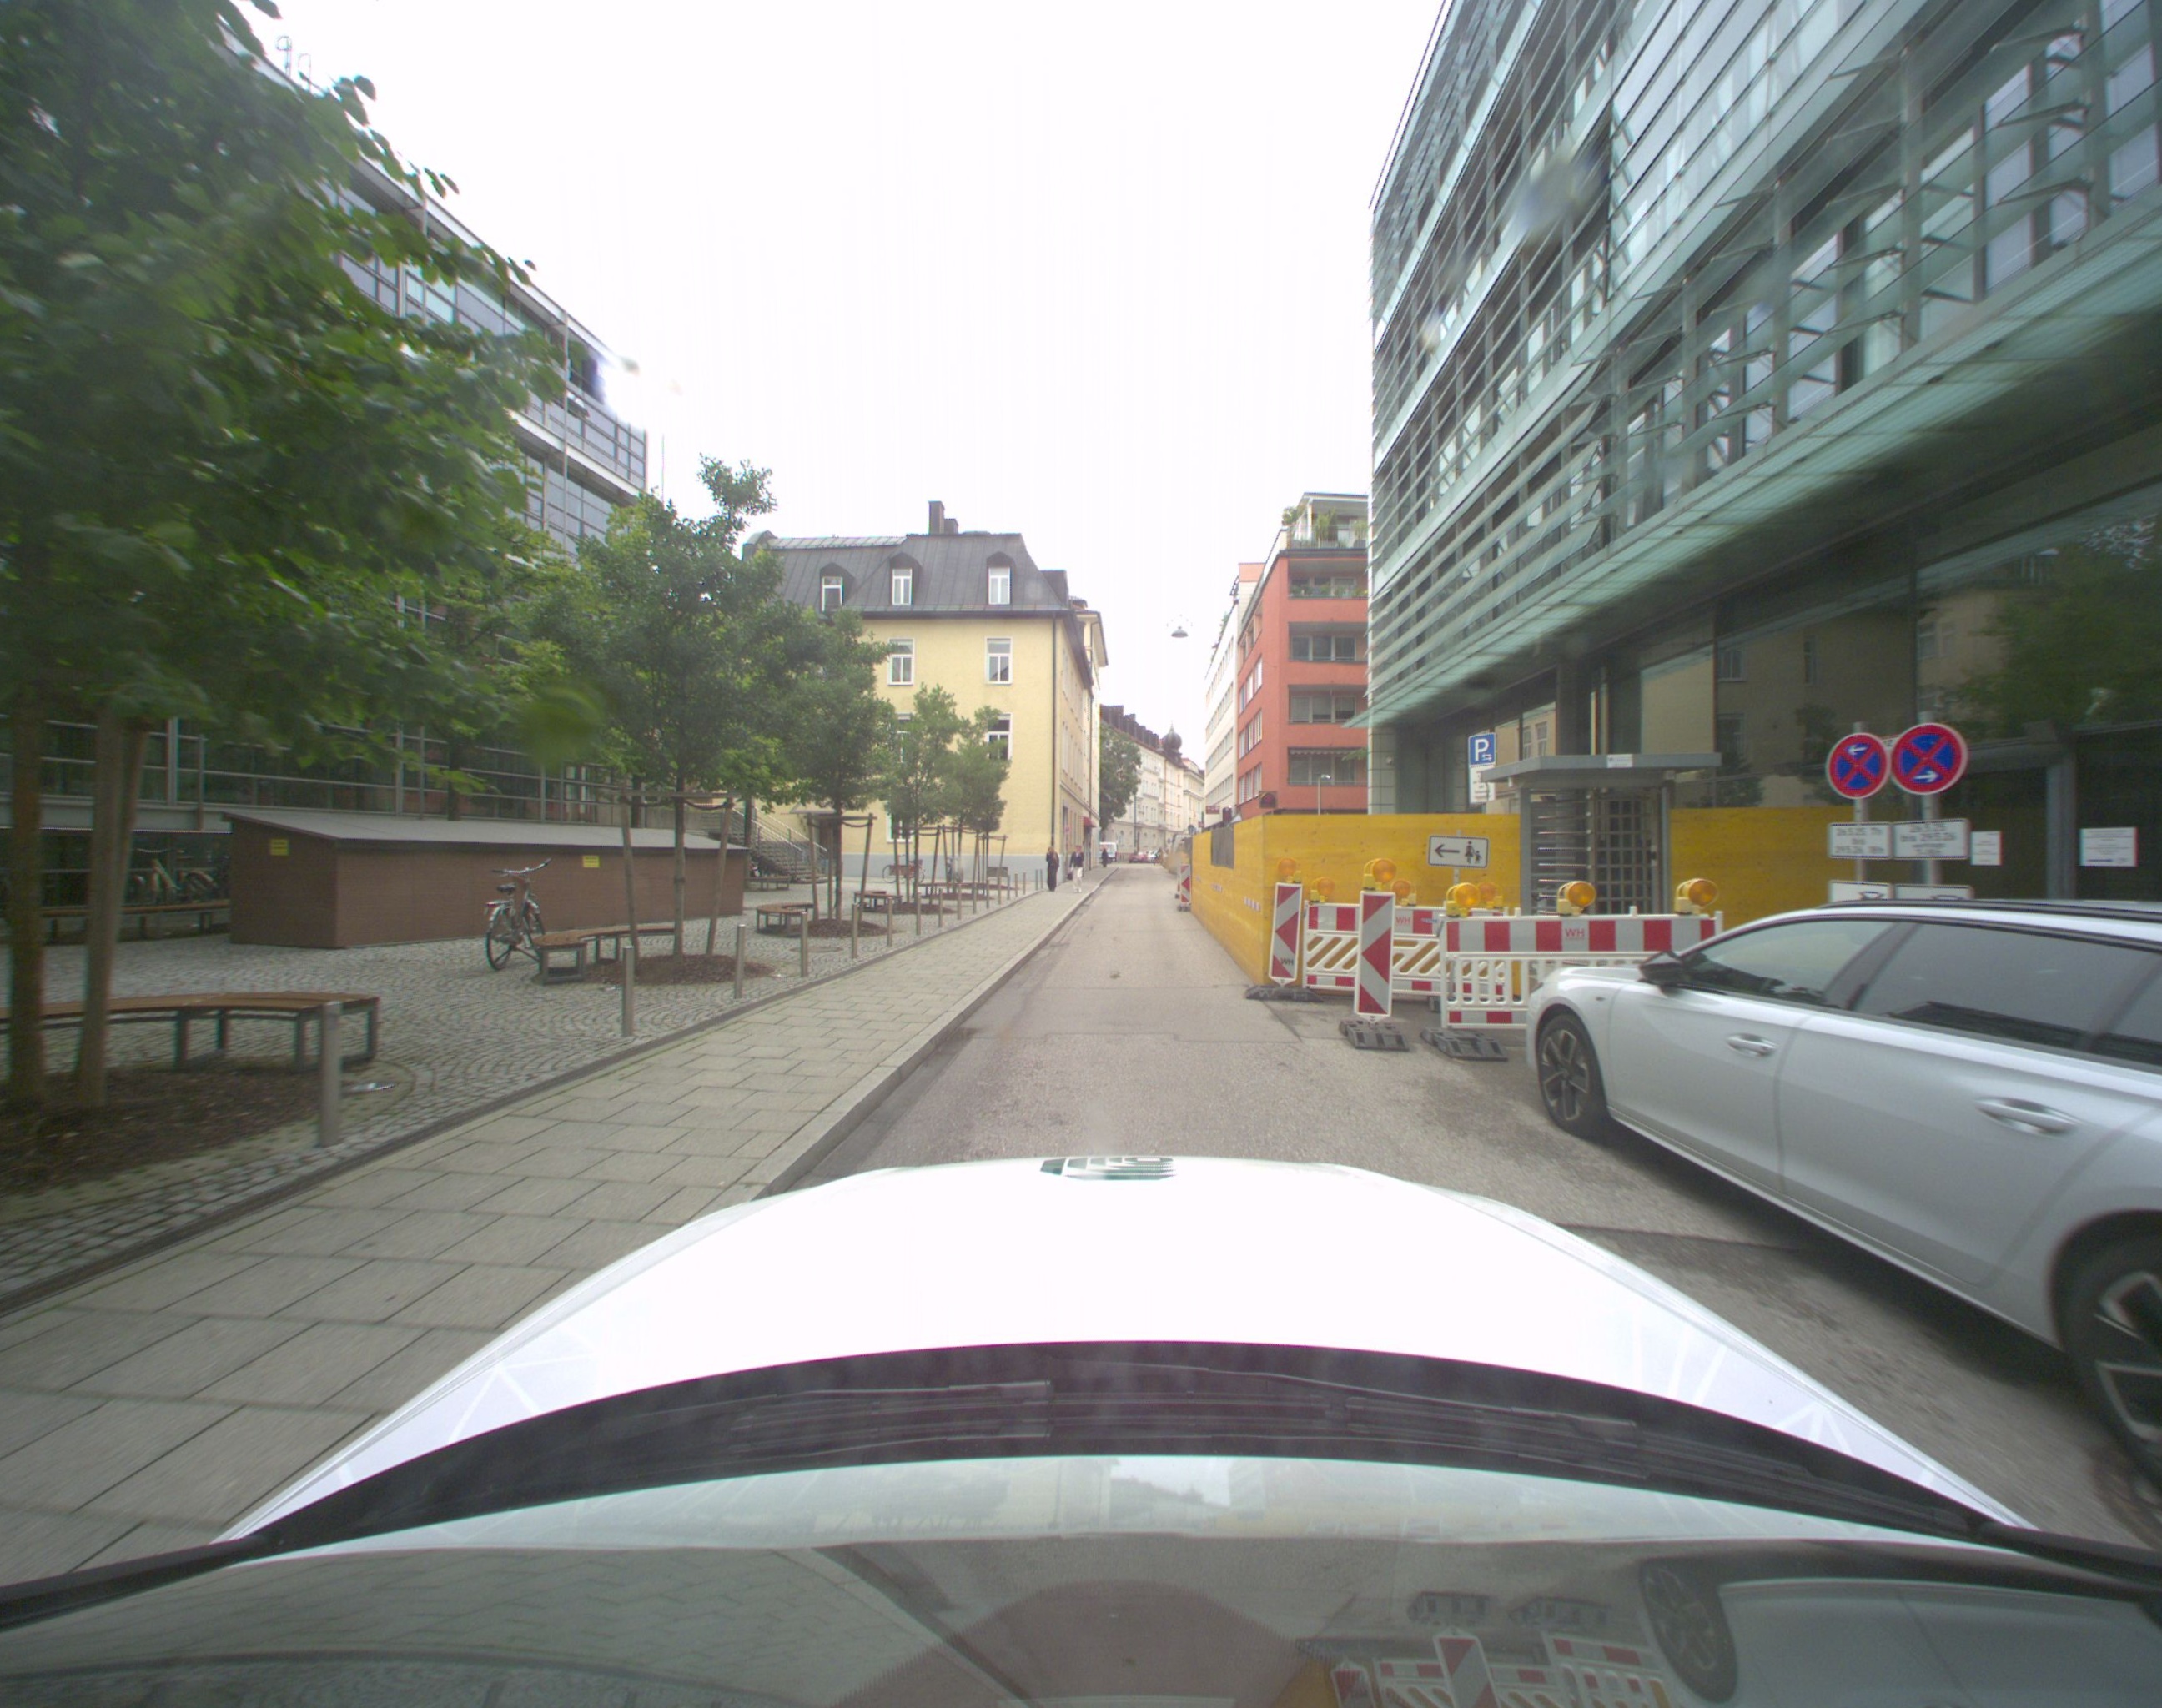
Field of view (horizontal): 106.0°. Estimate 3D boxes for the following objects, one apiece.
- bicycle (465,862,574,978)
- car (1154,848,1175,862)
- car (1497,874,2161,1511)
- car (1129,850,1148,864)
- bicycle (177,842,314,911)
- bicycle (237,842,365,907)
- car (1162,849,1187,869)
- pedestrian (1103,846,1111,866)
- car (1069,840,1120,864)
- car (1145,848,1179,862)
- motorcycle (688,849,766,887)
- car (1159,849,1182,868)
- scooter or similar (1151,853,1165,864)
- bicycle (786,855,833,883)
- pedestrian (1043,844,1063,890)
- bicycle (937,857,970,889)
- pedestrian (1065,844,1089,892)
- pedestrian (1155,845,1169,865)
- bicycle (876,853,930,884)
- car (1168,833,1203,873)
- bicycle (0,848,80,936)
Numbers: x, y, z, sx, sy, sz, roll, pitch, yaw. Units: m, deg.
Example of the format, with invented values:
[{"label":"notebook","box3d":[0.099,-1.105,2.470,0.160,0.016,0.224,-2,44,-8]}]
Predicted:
[{"label":"bicycle","box3d":[-6.586,0.715,9.640,0.552,1.197,1.826,1,0,-19]},{"label":"car","box3d":[11.290,0.141,109.634,2.005,1.904,4.308,-1,0,16]},{"label":"car","box3d":[3.463,0.856,3.060,1.700,1.414,4.514,2,0,3]},{"label":"car","box3d":[6.787,0.363,95.317,1.680,1.574,4.012,1,0,11]},{"label":"bicycle","box3d":[-14.766,0.383,14.407,1.977,1.160,0.654,1,0,9]},{"label":"bicycle","box3d":[-14.632,0.372,15.292,1.977,1.160,0.654,1,0,9]},{"label":"car","box3d":[7.873,0.380,68.820,1.780,1.625,4.276,1,0,3]},{"label":"pedestrian","box3d":[2.178,0.179,68.898,0.632,1.675,0.518,1,0,3]},{"label":"car","box3d":[1.417,-0.233,86.426,5.001,2.398,1.984,1,0,-25]},{"label":"car","box3d":[9.252,0.144,92.436,1.676,1.574,4.023,1,0,44]},{"label":"motorcycle","box3d":[-12.364,0.485,28.454,2.485,1.244,0.760,1,0,11]},{"label":"car","box3d":[8.046,0.394,73.481,1.804,1.563,4.278,1,0,3]},{"label":"scooter or similar","box3d":[7.806,0.472,82.590,1.059,1.127,1.166,1,0,20]},{"label":"bicycle","box3d":[-10.886,0.596,32.640,1.647,1.069,0.599,1,0,7]},{"label":"pedestrian","box3d":[-1.030,0.472,30.005,0.667,1.648,0.762,1,0,3]},{"label":"bicycle","box3d":[-4.778,0.686,30.694,0.506,1.144,2.059,1,0,12]},{"label":"pedestrian","box3d":[-0.141,0.509,30.024,0.836,1.700,0.803,1,0,3]},{"label":"pedestrian","box3d":[8.335,0.148,83.916,1.123,2.013,1.416,1,0,20]},{"label":"bicycle","box3d":[-7.141,0.568,32.716,2.030,1.197,0.571,1,0,10]},{"label":"car","box3d":[7.010,-0.071,55.123,1.985,2.536,4.979,1,0,3]},{"label":"bicycle","box3d":[-15.473,0.520,11.711,1.765,1.197,0.553,1,0,10]}]
